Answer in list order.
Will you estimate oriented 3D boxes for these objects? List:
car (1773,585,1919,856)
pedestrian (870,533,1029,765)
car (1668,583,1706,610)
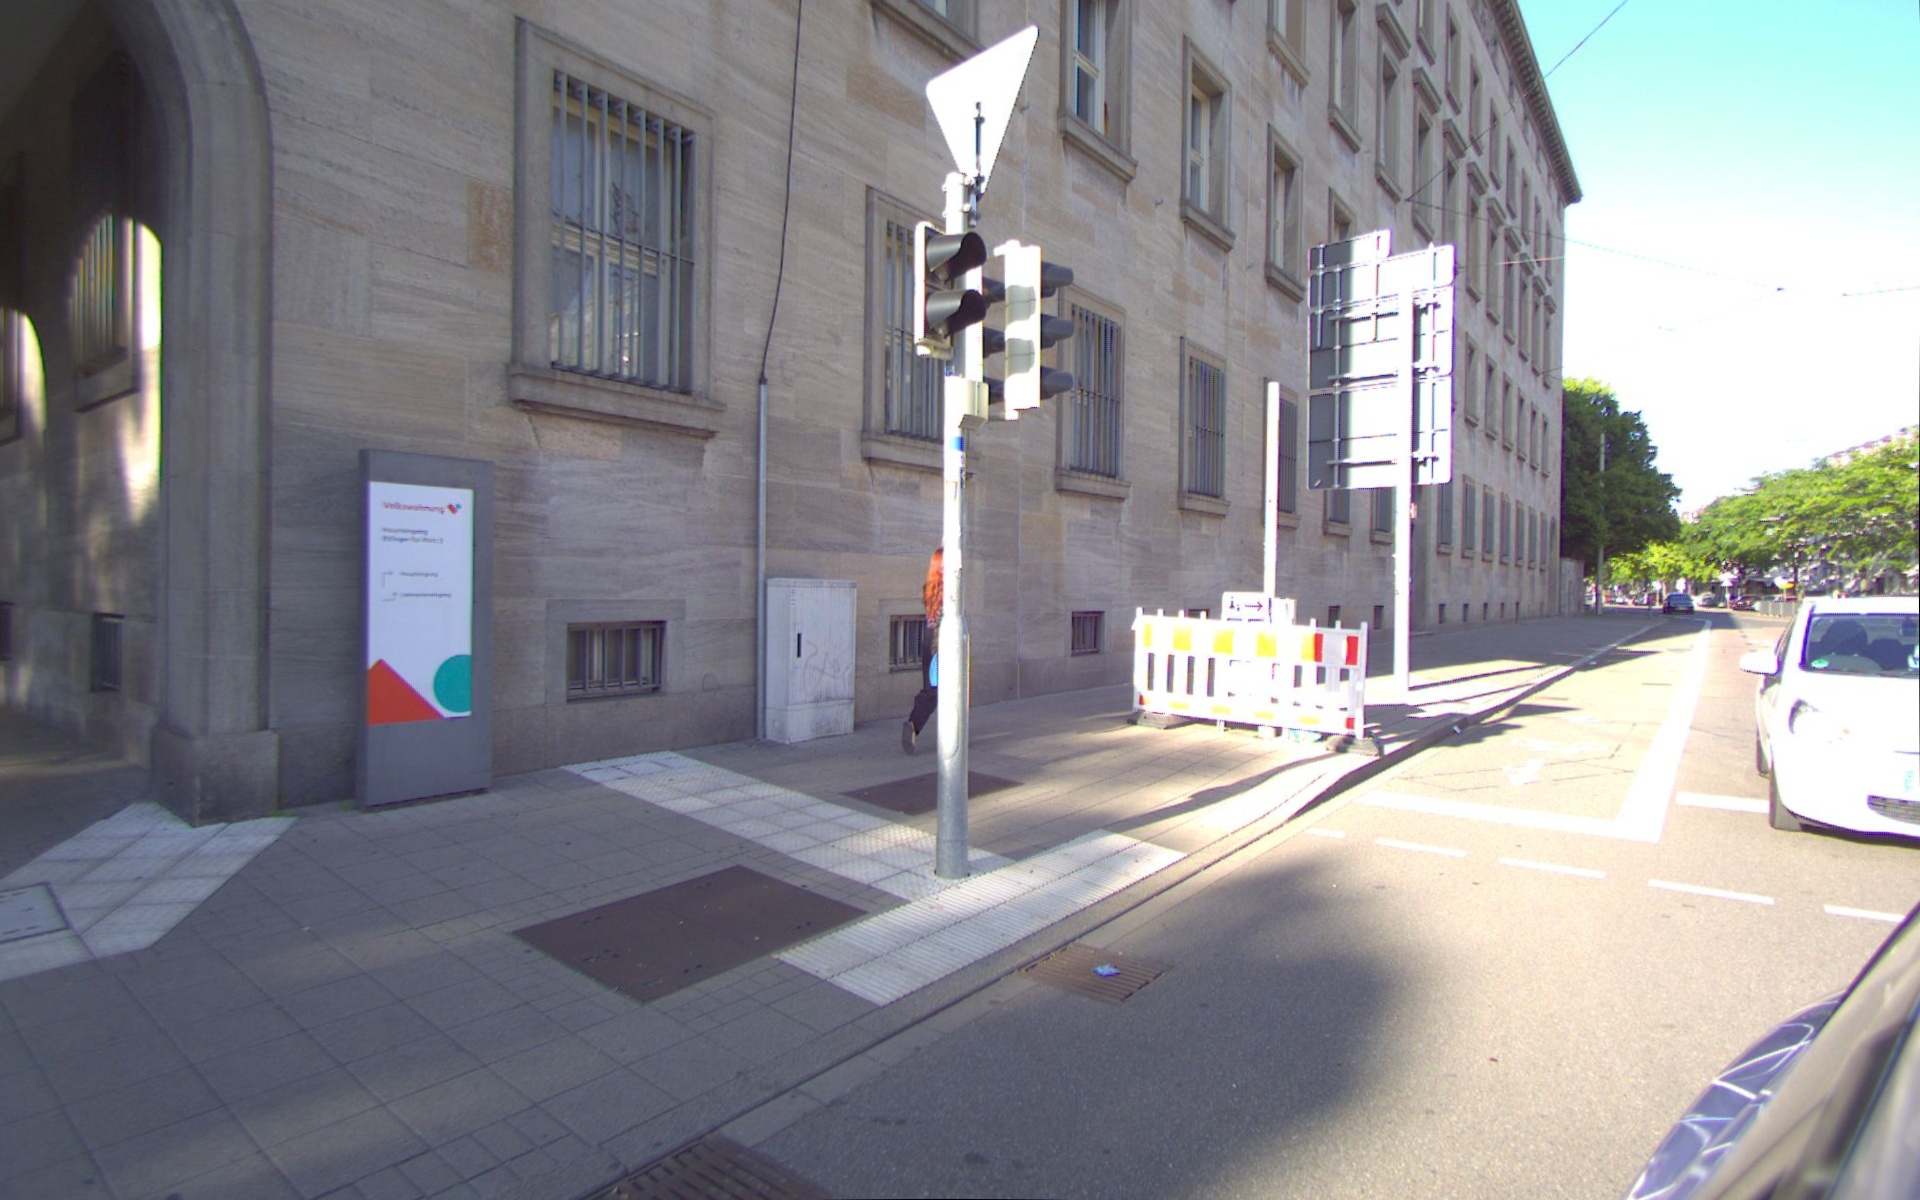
[{"bbox_3d":[6.671,0.649,6.924,1.671,1.482,3.713,-1,1,38],"label":"car"},{"bbox_3d":[-0.074,0.342,7.927,0.735,1.640,0.906,7,4,38],"label":"pedestrian"},{"bbox_3d":[56.698,-0.271,78.988,1.741,2.039,3.674,1,1,25],"label":"car"}]
